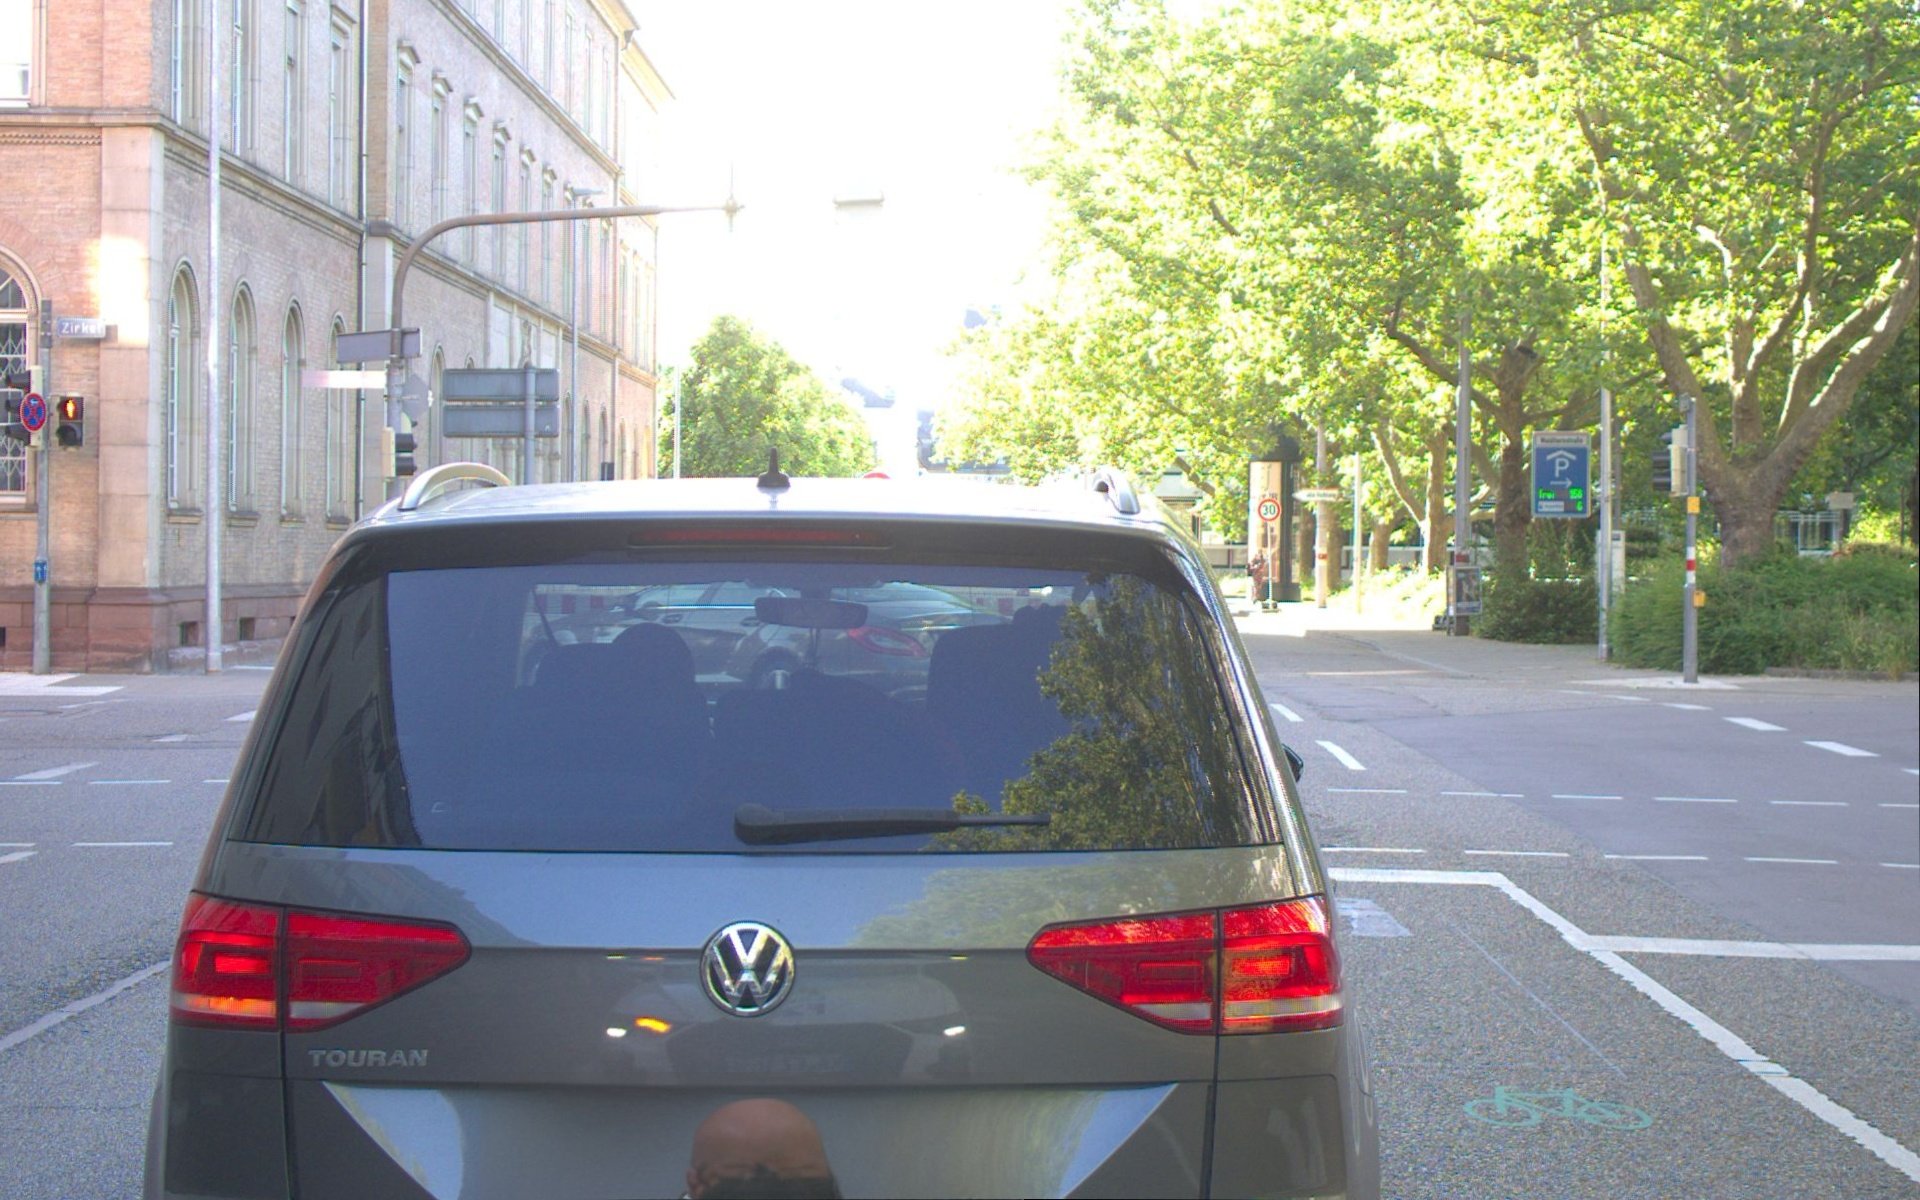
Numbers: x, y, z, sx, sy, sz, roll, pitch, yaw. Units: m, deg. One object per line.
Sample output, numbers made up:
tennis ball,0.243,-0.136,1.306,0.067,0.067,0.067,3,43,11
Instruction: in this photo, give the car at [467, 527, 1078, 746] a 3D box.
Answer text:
car,-1.498,0.223,26.643,4.503,1.524,1.925,2,1,36

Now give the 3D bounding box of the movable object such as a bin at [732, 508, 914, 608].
movable object such as a bin,-3.918,-1.208,97.821,4.838,2.767,2.467,1,1,43

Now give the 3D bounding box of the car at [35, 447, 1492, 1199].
car,-0.266,0.586,6.188,1.762,1.601,4.000,1,1,-1

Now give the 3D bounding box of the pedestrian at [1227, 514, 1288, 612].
pedestrian,8.196,-1.015,94.869,1.419,2.658,1.148,1,0,-8
